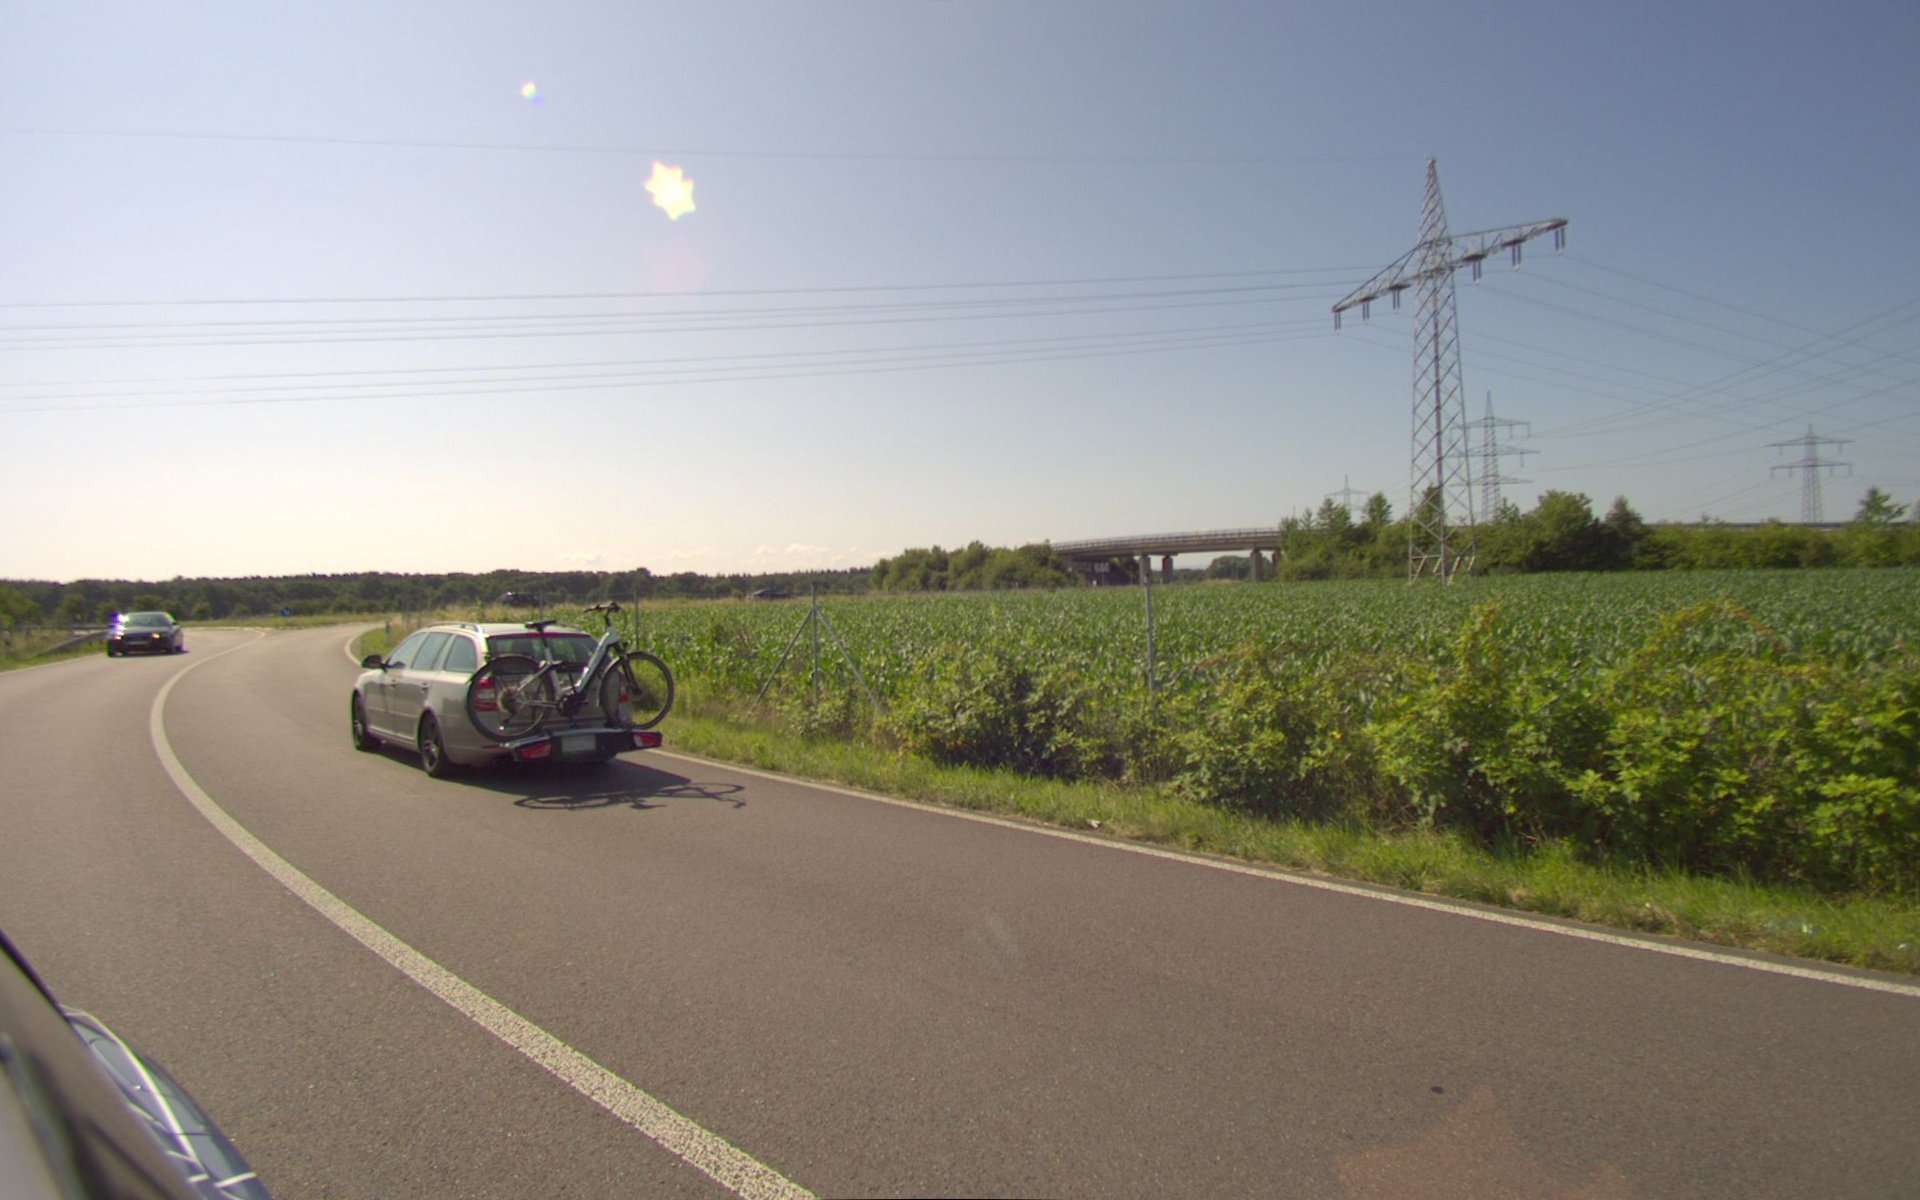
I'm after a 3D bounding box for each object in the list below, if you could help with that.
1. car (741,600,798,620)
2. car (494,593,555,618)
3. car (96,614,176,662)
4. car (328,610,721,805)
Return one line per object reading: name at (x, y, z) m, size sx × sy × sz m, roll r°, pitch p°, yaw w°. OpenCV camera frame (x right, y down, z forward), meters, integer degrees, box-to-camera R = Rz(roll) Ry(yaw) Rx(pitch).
car at (-16.701, 0.866, 88.844) m, size 4.516 × 1.467 × 1.785 m, roll -3°, pitch 1°, yaw -34°
car at (-31.182, 0.371, 72.534) m, size 1.969 × 1.719 × 4.246 m, roll 0°, pitch 1°, yaw 12°
car at (-27.807, 1.271, 34.254) m, size 1.857 × 1.467 × 4.085 m, roll -1°, pitch -1°, yaw -36°
car at (-4.628, 0.907, 10.243) m, size 5.138 × 1.492 × 1.845 m, roll -2°, pitch -4°, yaw 45°
